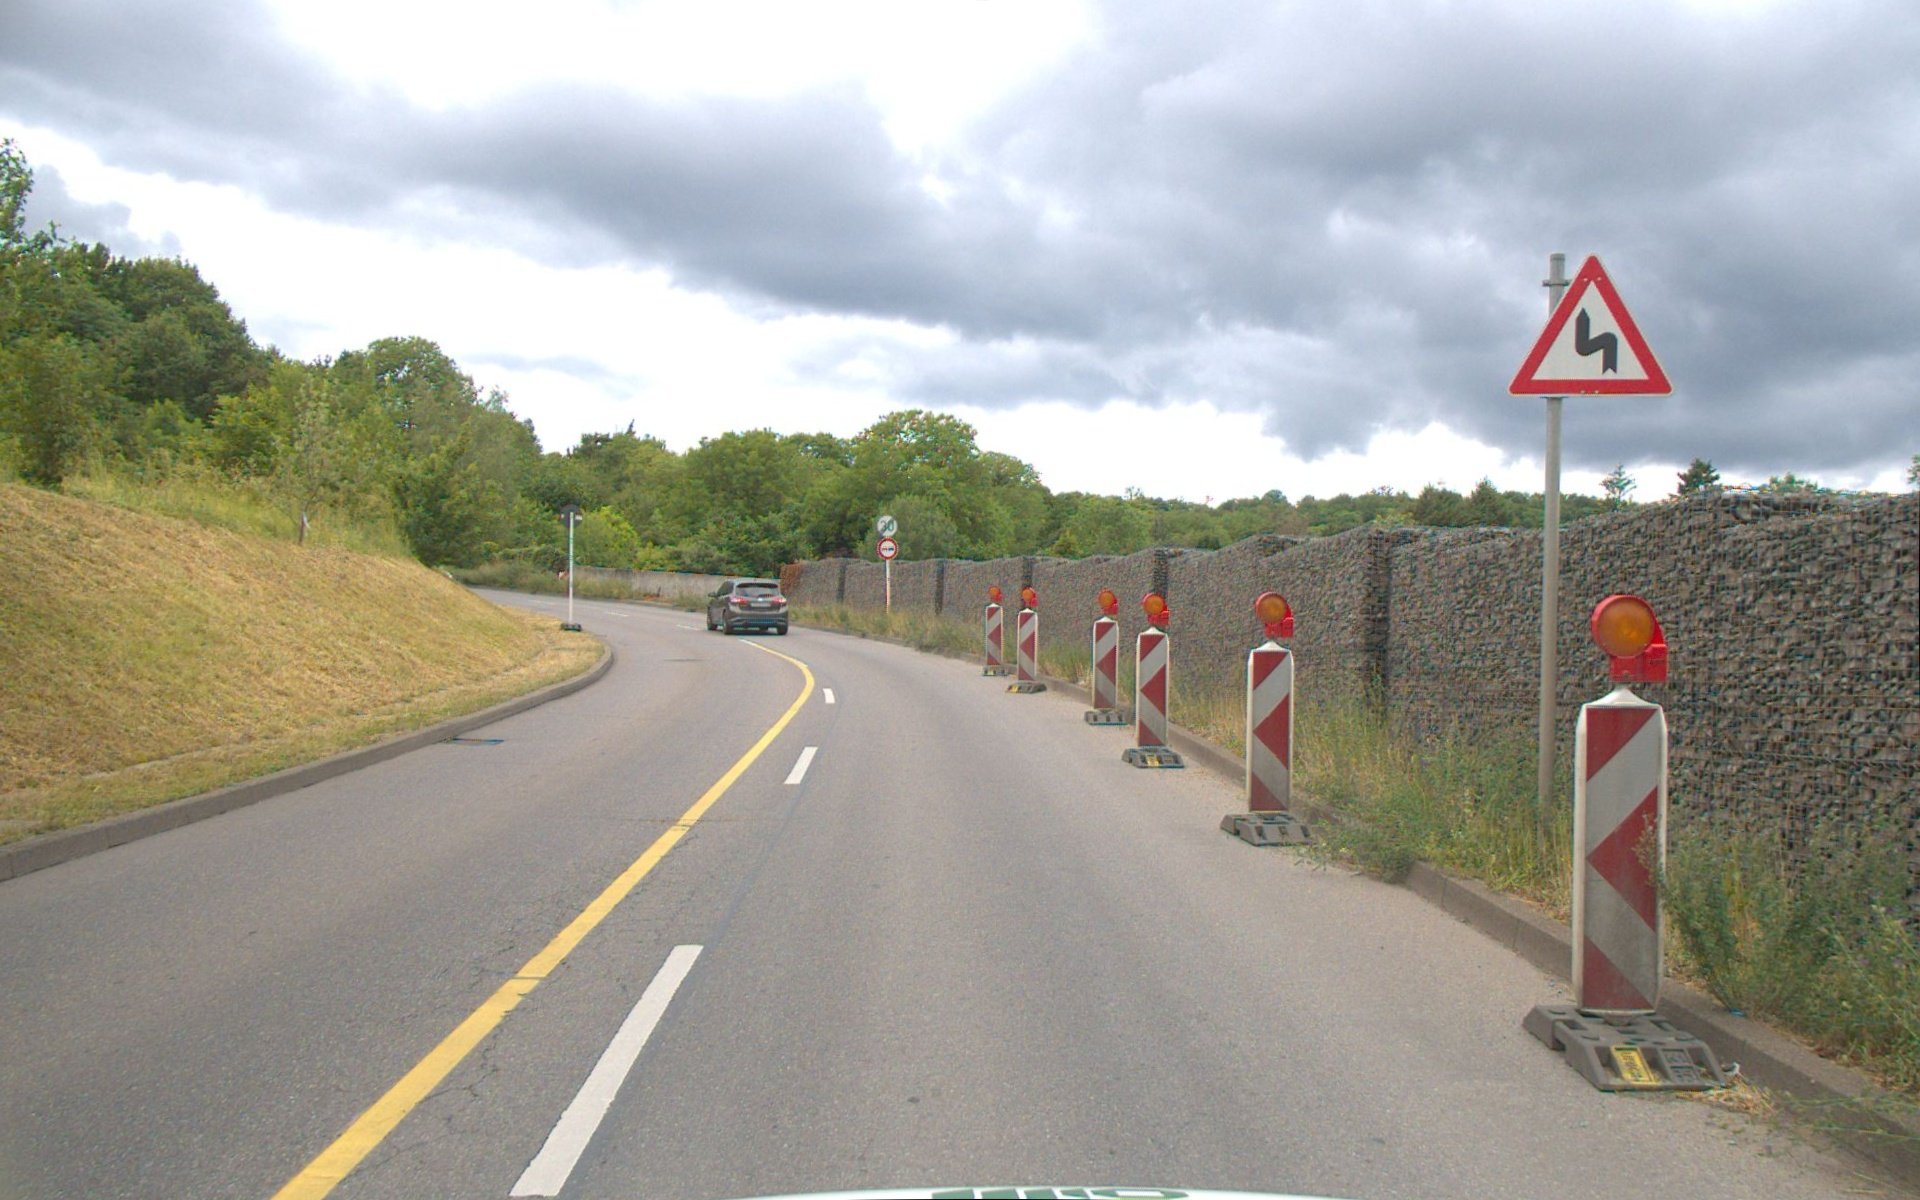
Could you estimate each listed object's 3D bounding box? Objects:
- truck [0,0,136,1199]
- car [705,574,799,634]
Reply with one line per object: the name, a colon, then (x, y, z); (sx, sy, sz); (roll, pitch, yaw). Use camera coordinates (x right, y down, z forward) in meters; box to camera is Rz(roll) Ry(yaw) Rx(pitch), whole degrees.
truck: (-3.026, -0.076, 0.112); (2.170, 3.067, 7.737); (1, 0, -1)
car: (-5.913, 0.082, 46.645); (1.812, 1.509, 3.977); (1, 2, -20)
